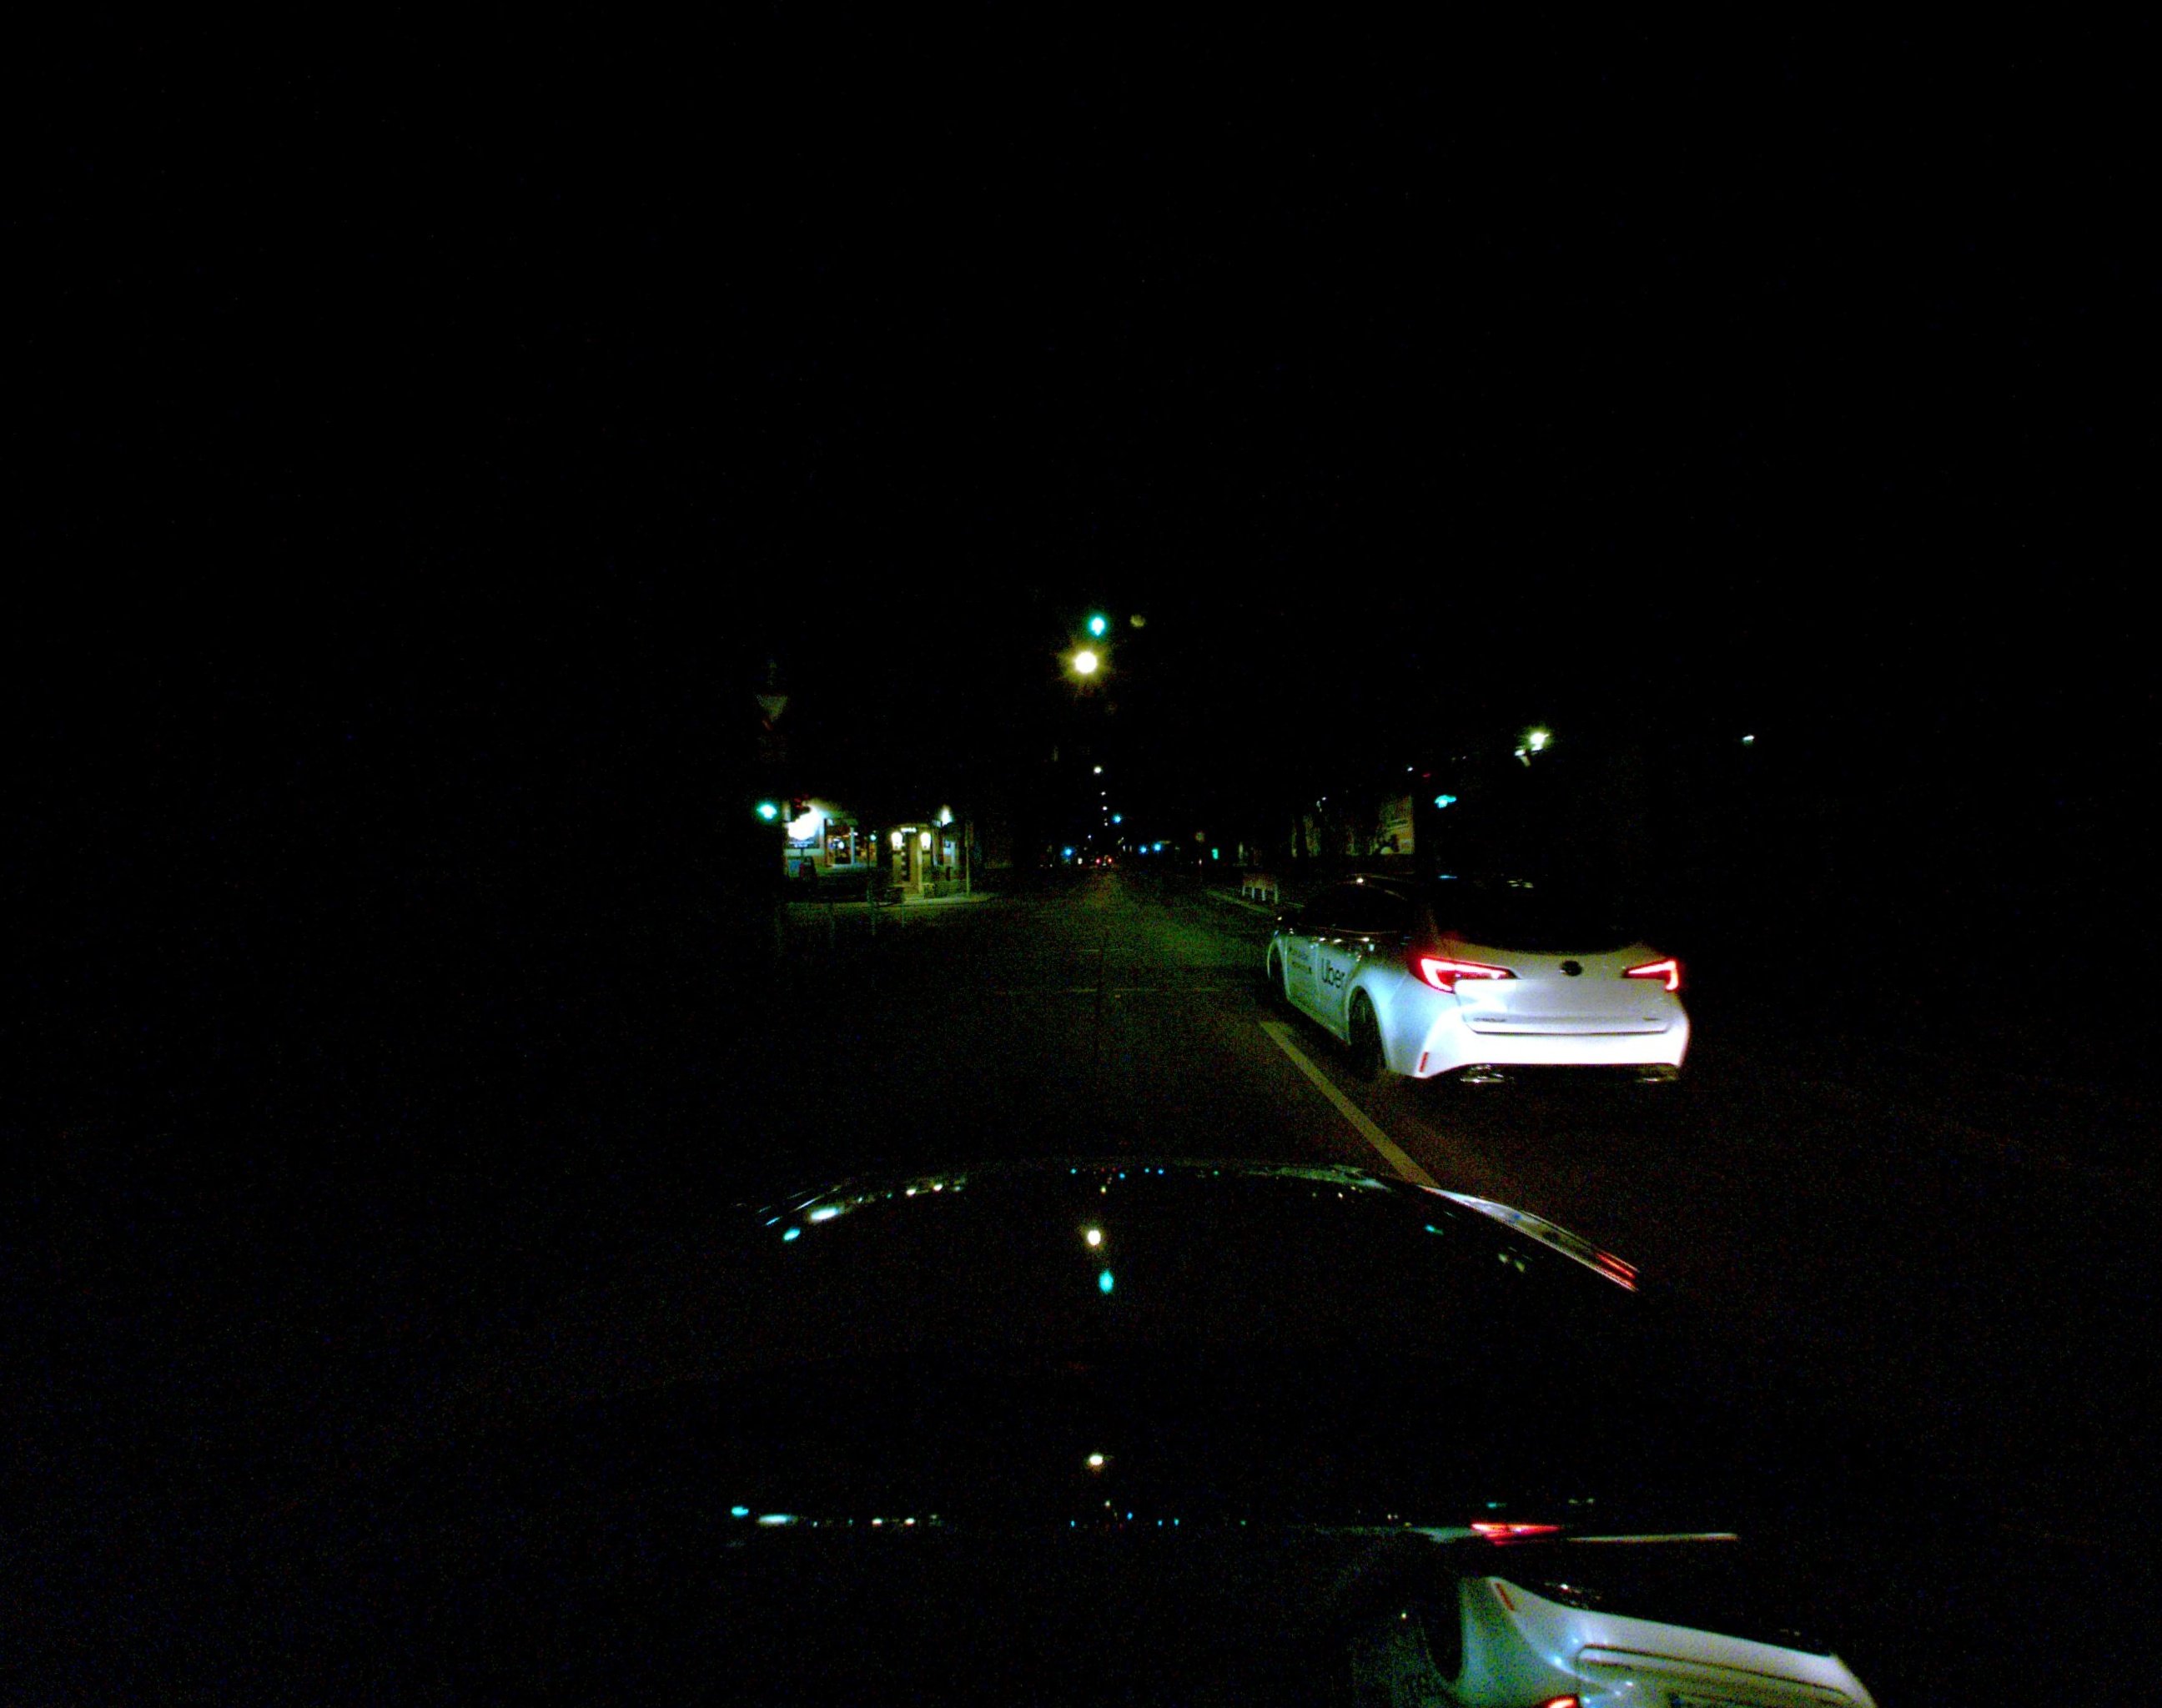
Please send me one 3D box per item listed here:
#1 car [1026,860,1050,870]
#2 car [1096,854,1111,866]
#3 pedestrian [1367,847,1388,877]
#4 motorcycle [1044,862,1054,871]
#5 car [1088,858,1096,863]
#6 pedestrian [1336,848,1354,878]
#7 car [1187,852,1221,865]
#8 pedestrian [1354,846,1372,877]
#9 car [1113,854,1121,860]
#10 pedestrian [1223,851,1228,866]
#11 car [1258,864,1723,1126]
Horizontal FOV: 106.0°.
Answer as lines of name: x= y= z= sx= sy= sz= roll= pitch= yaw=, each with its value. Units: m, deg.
car: x=-6.372 y=1.638 z=120.342 sx=1.815 sy=1.486 sz=3.961 roll=-2 pitch=0 yaw=-30
car: x=3.094 y=0.809 z=112.616 sx=1.987 sy=1.640 sz=3.999 roll=-2 pitch=-1 yaw=0
pedestrian: x=17.795 y=0.479 z=48.863 sx=0.897 sy=1.769 sz=0.907 roll=-2 pitch=-1 yaw=1
motorcycle: x=-4.604 y=1.828 z=117.411 sx=0.783 sy=1.204 sz=2.435 roll=-2 pitch=0 yaw=-17
car: x=2.864 y=1.658 z=211.318 sx=1.772 sy=1.390 sz=3.999 roll=-2 pitch=0 yaw=0
pedestrian: x=15.730 y=0.534 z=48.588 sx=0.711 sy=1.769 sz=0.907 roll=-2 pitch=-1 yaw=1
car: x=14.867 y=0.570 z=98.383 sx=3.969 sy=1.386 sz=1.773 roll=-2 pitch=0 yaw=4
pedestrian: x=16.752 y=0.430 z=48.400 sx=0.736 sy=1.769 sz=0.907 roll=-2 pitch=-1 yaw=1
car: x=9.901 y=0.744 z=225.729 sx=1.988 sy=1.596 sz=3.998 roll=-2 pitch=0 yaw=-1
pedestrian: x=18.914 y=0.615 z=106.676 sx=0.529 sy=2.014 sz=0.670 roll=-2 pitch=-1 yaw=1
car: x=2.741 y=0.812 z=6.645 sx=1.723 sy=1.435 sz=4.210 roll=0 pitch=0 yaw=1
